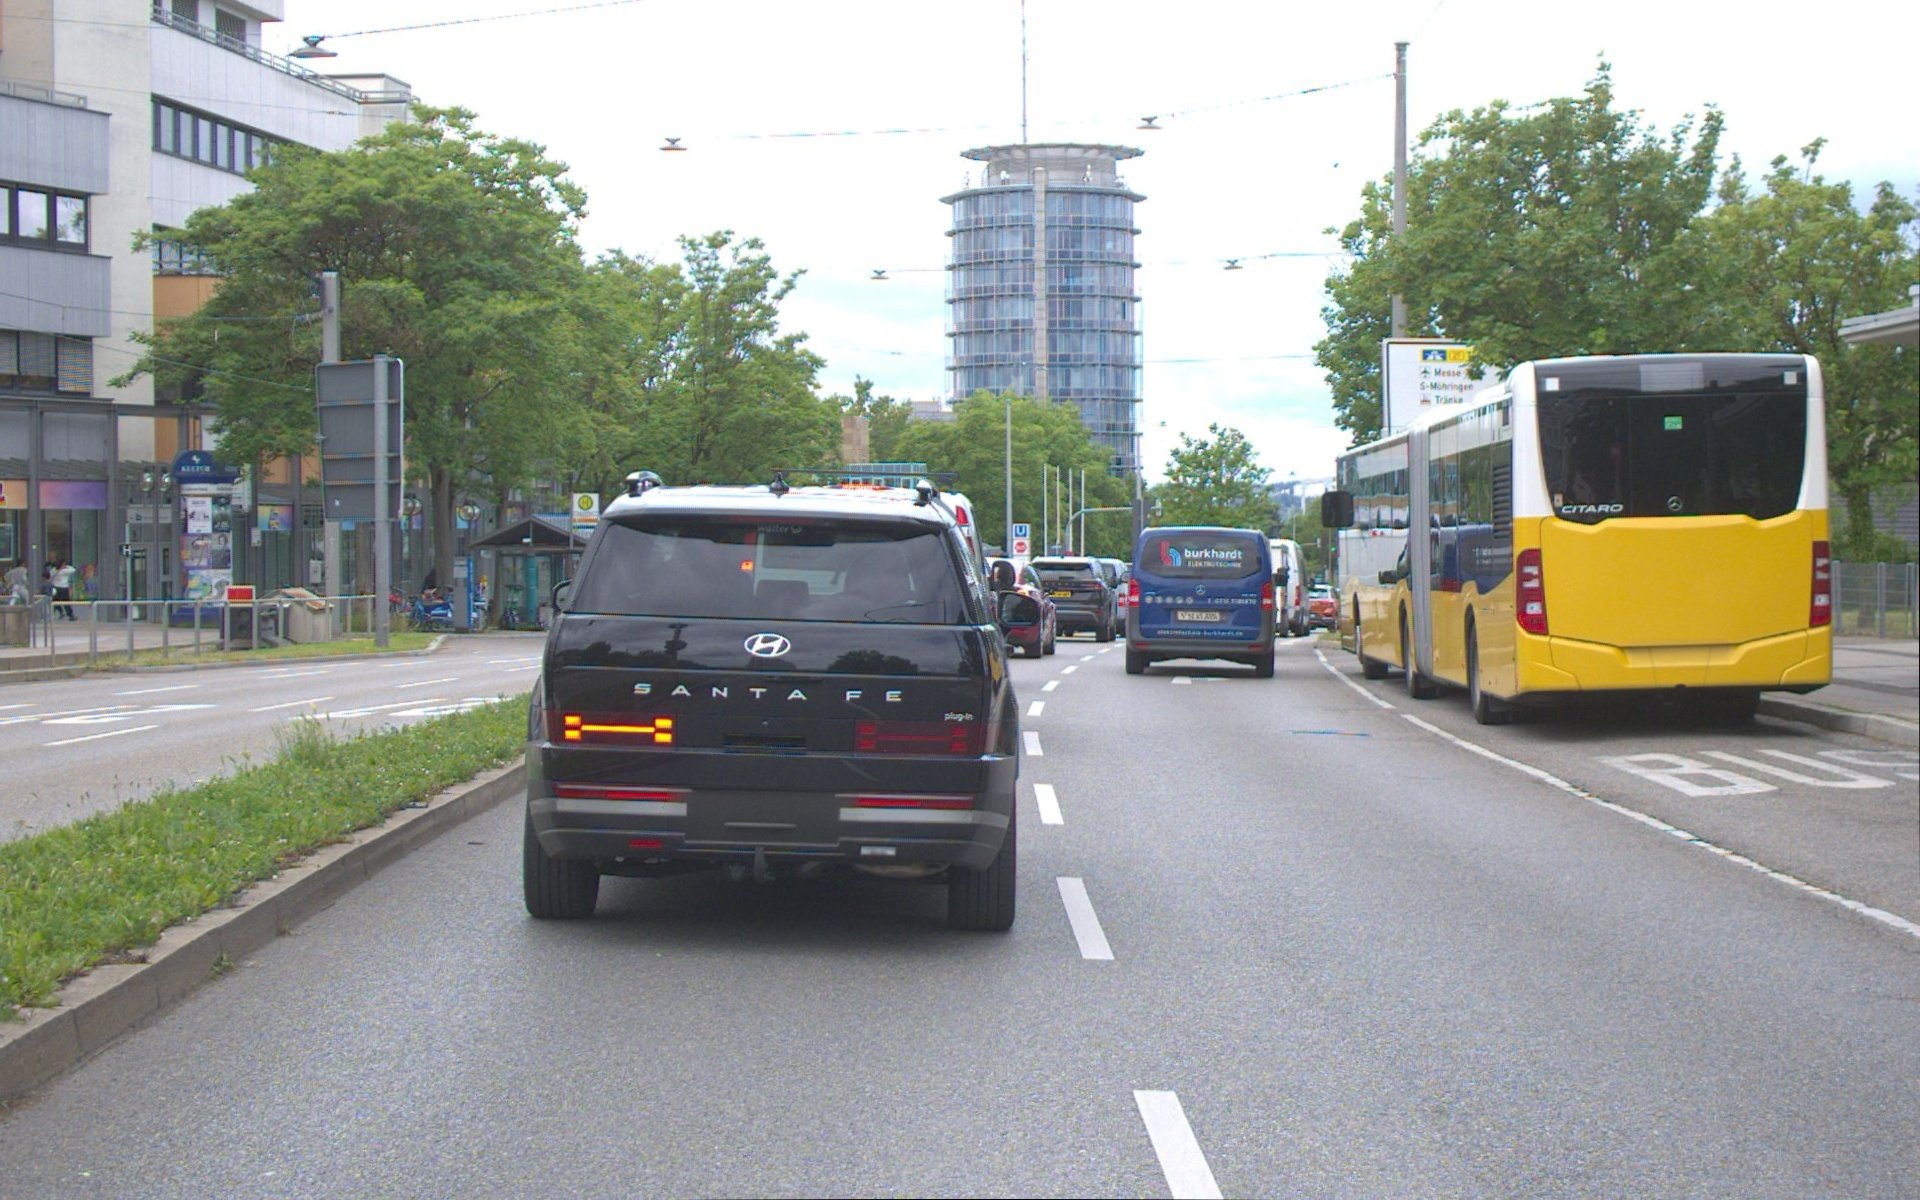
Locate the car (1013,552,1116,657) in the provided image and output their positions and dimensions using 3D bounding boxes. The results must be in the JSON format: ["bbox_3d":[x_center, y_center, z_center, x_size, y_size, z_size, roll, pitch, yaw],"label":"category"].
[{"bbox_3d":[2.018,0.050,67.104,1.902,1.852,4.710,1,2,1],"label":"car"}]

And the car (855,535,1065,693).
[{"bbox_3d":[-0.071,0.100,37.979,1.902,1.537,4.710,1,2,-5],"label":"car"}]

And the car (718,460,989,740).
[{"bbox_3d":[-0.801,-0.070,26.976,1.902,1.962,4.636,1,2,-1],"label":"car"}]

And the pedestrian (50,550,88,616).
[{"bbox_3d":[-22.751,-0.444,87.742,0.731,1.667,0.581,0,1,21],"label":"pedestrian"}]

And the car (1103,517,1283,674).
[{"bbox_3d":[2.962,-0.108,44.640,1.902,1.852,4.710,1,2,-1],"label":"car"}]

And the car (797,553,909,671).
[{"bbox_3d":[-1.896,0.172,61.998,1.902,1.922,4.710,1,2,-1],"label":"car"}]

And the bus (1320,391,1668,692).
[{"bbox_3d":[6.133,-0.682,41.115,2.952,3.101,9.975,-1,1,2],"label":"bus"}]

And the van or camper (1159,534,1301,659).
[{"bbox_3d":[4.501,-0.102,57.973,1.993,1.911,4.409,1,2,0],"label":"van or camper"}]

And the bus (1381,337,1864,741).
[{"bbox_3d":[5.765,-0.540,31.609,2.966,3.106,9.243,-1,1,2],"label":"bus"}]

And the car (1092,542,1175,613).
[{"bbox_3d":[4.612,-0.624,91.048,1.902,1.827,4.708,0,1,6],"label":"car"}]

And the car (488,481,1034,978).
[{"bbox_3d":[-0.759,0.394,14.435,1.902,1.725,4.447,1,2,-1],"label":"car"}]

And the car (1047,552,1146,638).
[{"bbox_3d":[3.179,-0.143,79.389,1.902,1.827,4.708,1,2,6],"label":"car"}]
